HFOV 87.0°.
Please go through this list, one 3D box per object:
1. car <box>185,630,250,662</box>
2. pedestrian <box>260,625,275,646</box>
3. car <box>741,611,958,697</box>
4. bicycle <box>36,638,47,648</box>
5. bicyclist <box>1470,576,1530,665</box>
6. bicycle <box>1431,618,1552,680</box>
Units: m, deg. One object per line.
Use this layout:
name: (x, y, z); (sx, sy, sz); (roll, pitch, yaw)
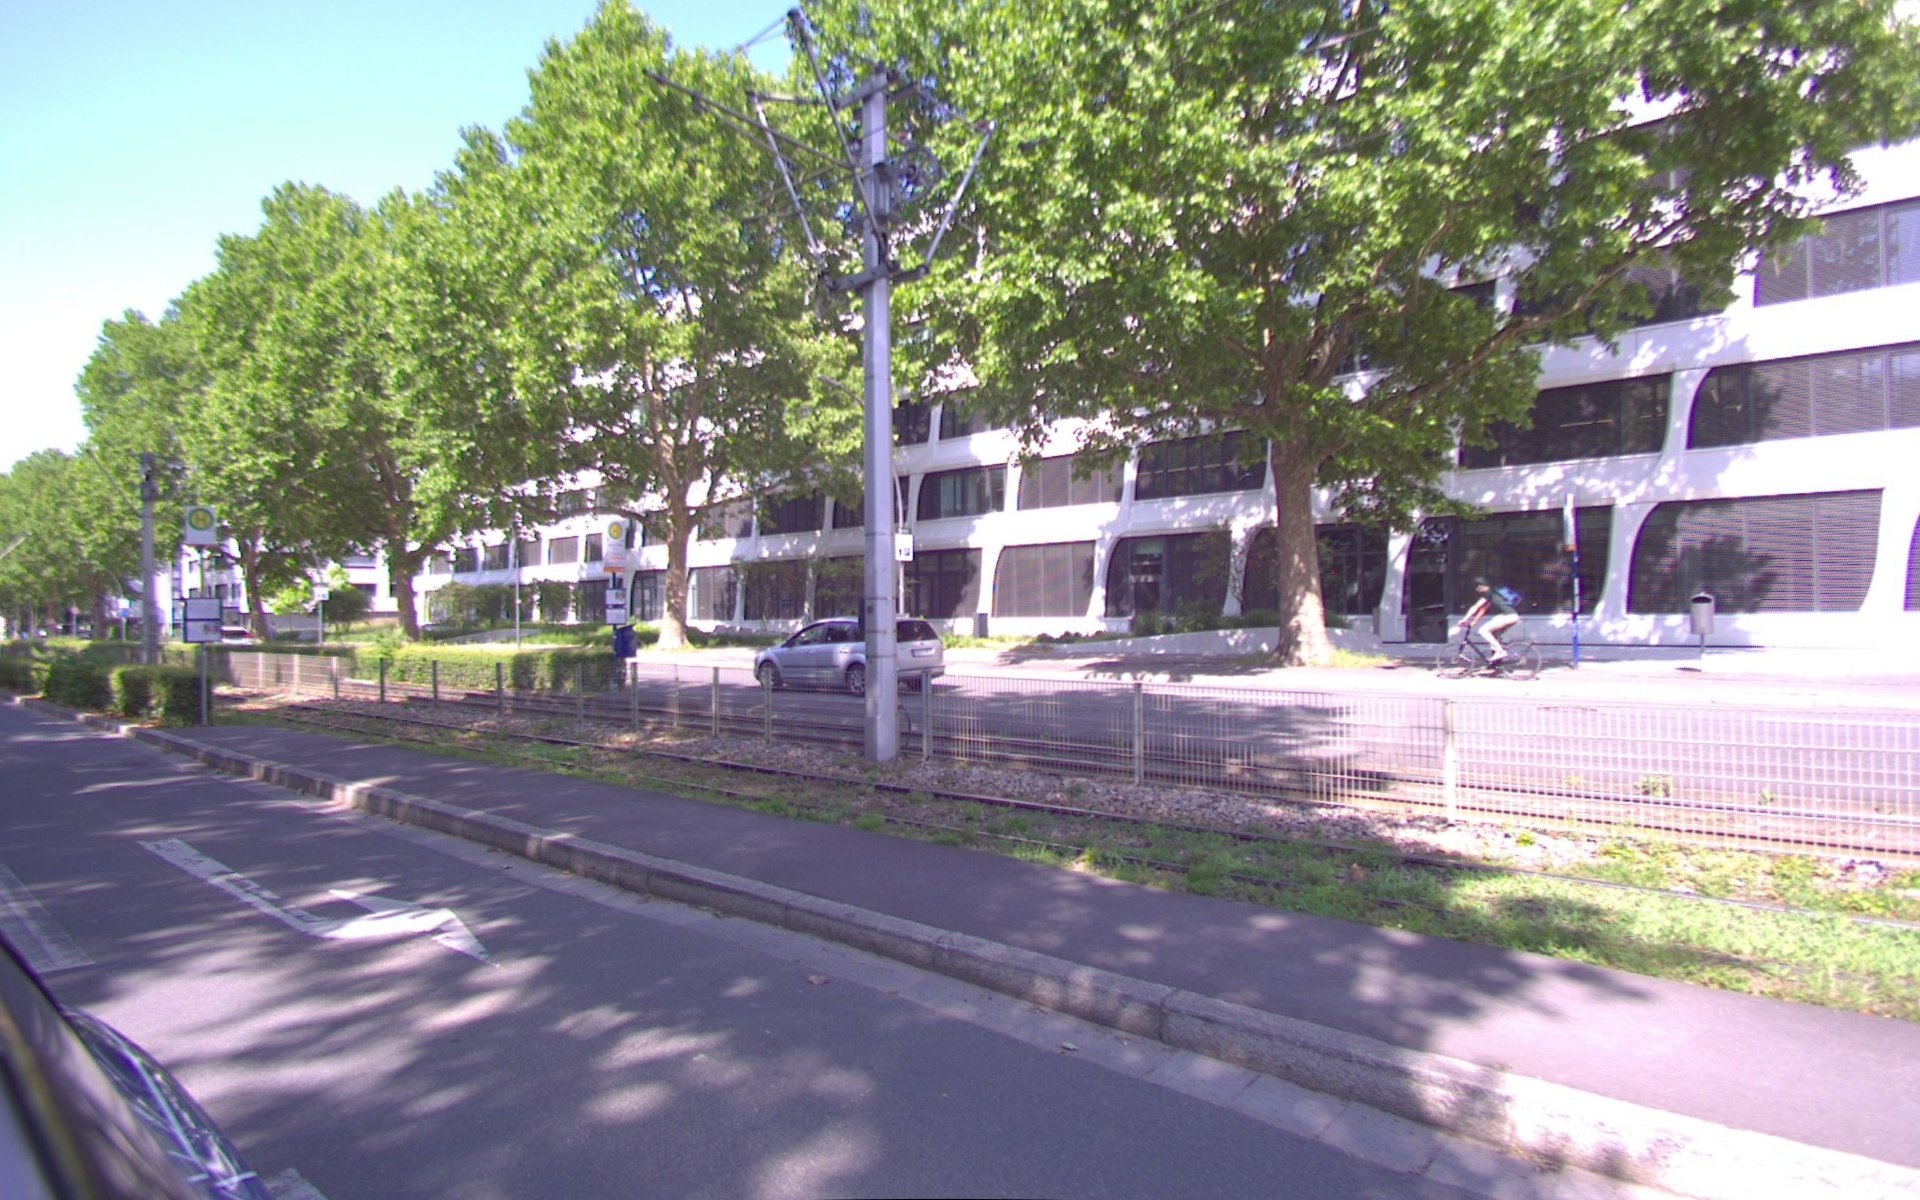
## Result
car: (-38.257, 2.348, 52.112); (4.301, 1.575, 1.792); (-2, -1, 41)
pedestrian: (-53.308, 2.747, 77.903); (1.014, 1.600, 0.713); (-2, -1, 41)
car: (-2.275, 1.027, 20.048); (4.383, 1.500, 1.778); (-2, -1, 41)
bicycle: (-106.144, 4.944, 116.939); (2.029, 1.133, 0.657); (-2, -1, 41)
bicyclist: (10.037, 0.386, 18.814); (0.838, 1.616, 0.568); (-2, -1, 41)
bicycle: (9.916, 0.907, 18.926); (1.883, 1.103, 0.660); (-2, -1, 41)
